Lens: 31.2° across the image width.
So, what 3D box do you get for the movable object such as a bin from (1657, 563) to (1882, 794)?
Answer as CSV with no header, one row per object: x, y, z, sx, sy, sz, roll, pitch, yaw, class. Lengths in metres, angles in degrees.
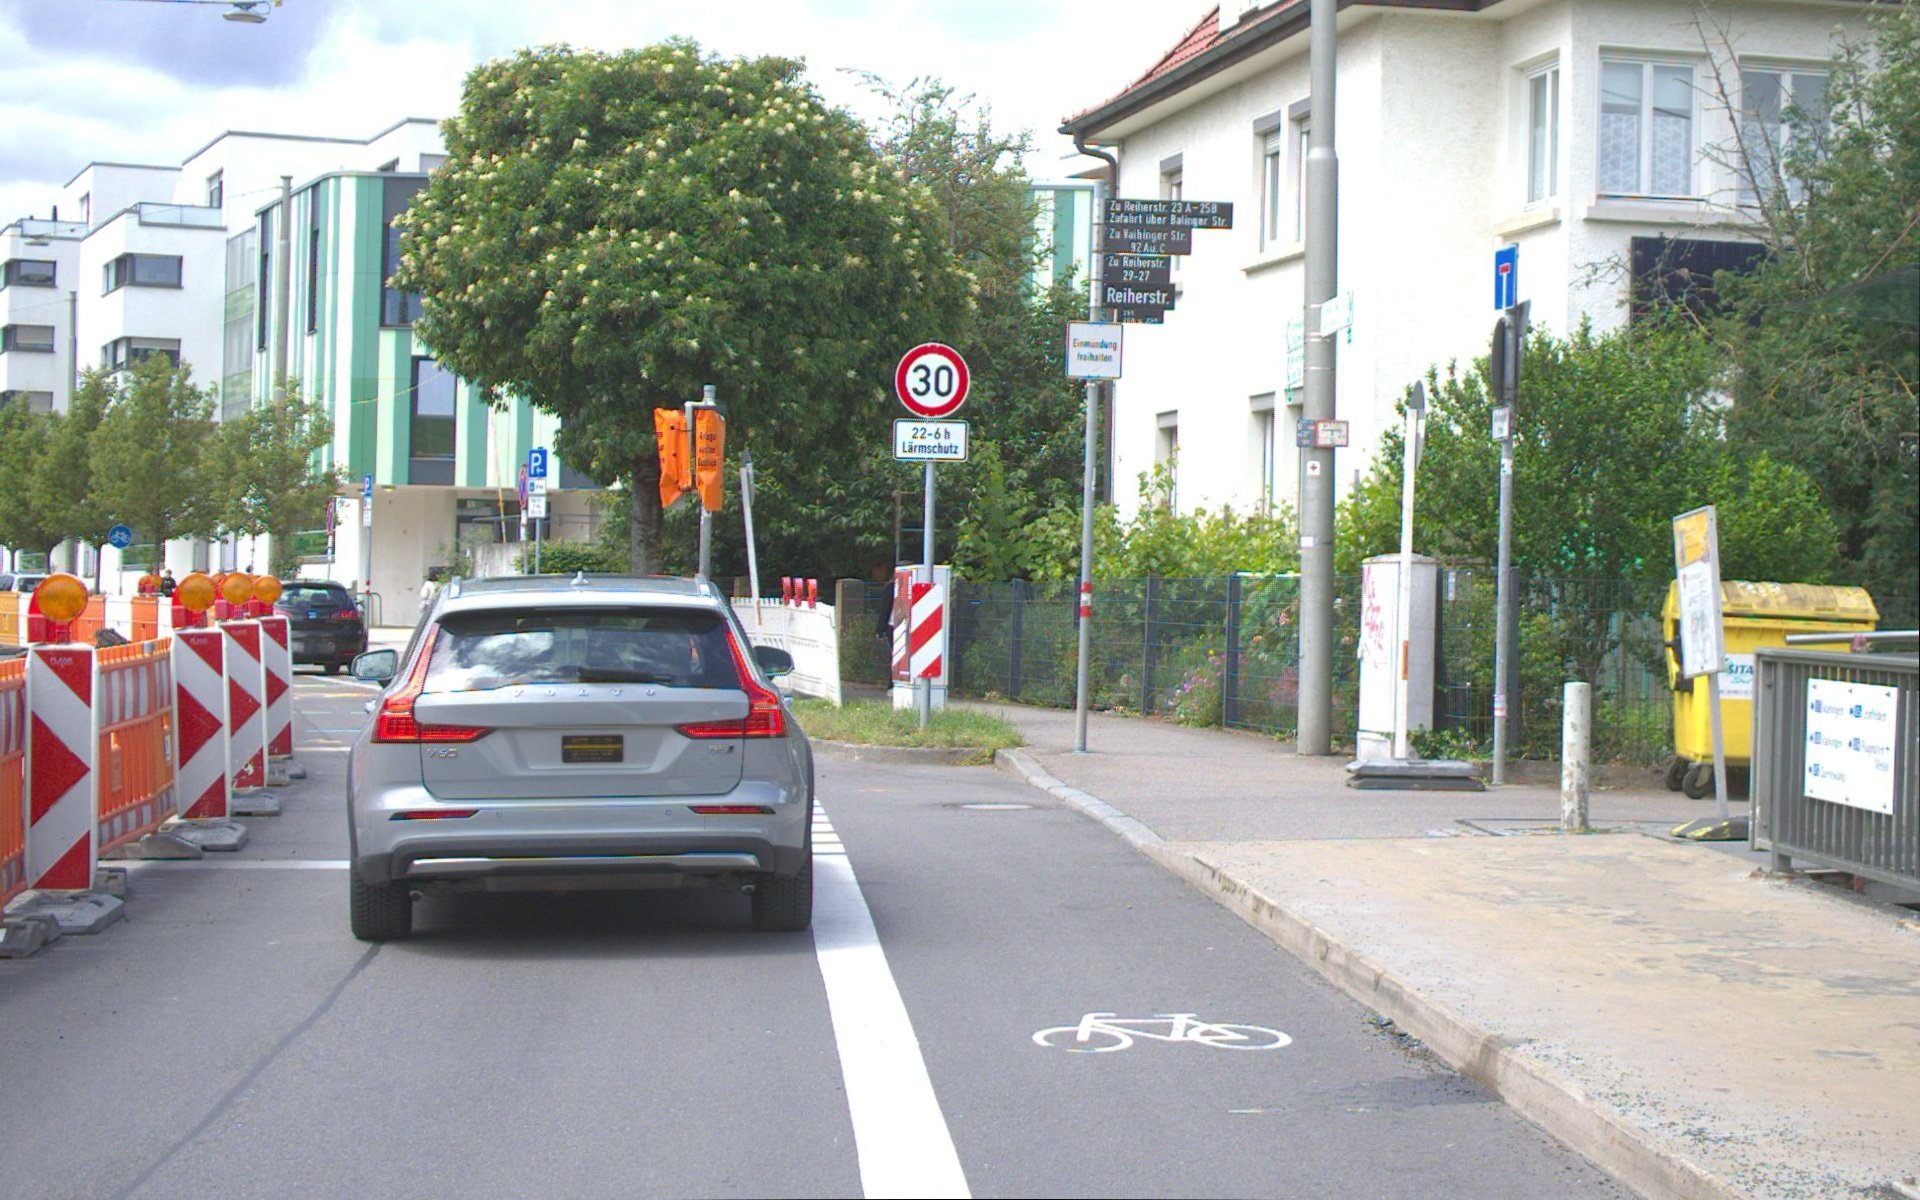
5.379,0.508,22.918,1.268,1.465,1.004,2,0,3,movable object such as a bin

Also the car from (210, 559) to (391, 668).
-10.032,0.182,52.060,1.854,1.508,4.001,2,0,-23,car

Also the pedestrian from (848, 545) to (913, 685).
-0.876,0.164,38.028,0.634,1.534,0.522,0,1,8,pedestrian

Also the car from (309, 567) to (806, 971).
-1.602,0.617,14.938,1.854,1.508,4.000,0,1,-2,car

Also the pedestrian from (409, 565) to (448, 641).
-10.785,0.058,69.716,0.581,1.546,0.869,0,0,-22,pedestrian

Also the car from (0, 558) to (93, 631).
-20.339,-0.145,75.602,1.844,1.508,4.001,2,0,-23,car

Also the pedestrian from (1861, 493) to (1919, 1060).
2.960,0.508,9.621,0.598,1.577,0.401,6,-2,-3,pedestrian

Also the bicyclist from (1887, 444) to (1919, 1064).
2.549,0.364,7.460,0.656,1.411,1.179,1,1,-4,bicyclist

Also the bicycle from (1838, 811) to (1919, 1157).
2.568,0.928,7.529,0.635,0.751,2.062,1,1,-3,bicycle
